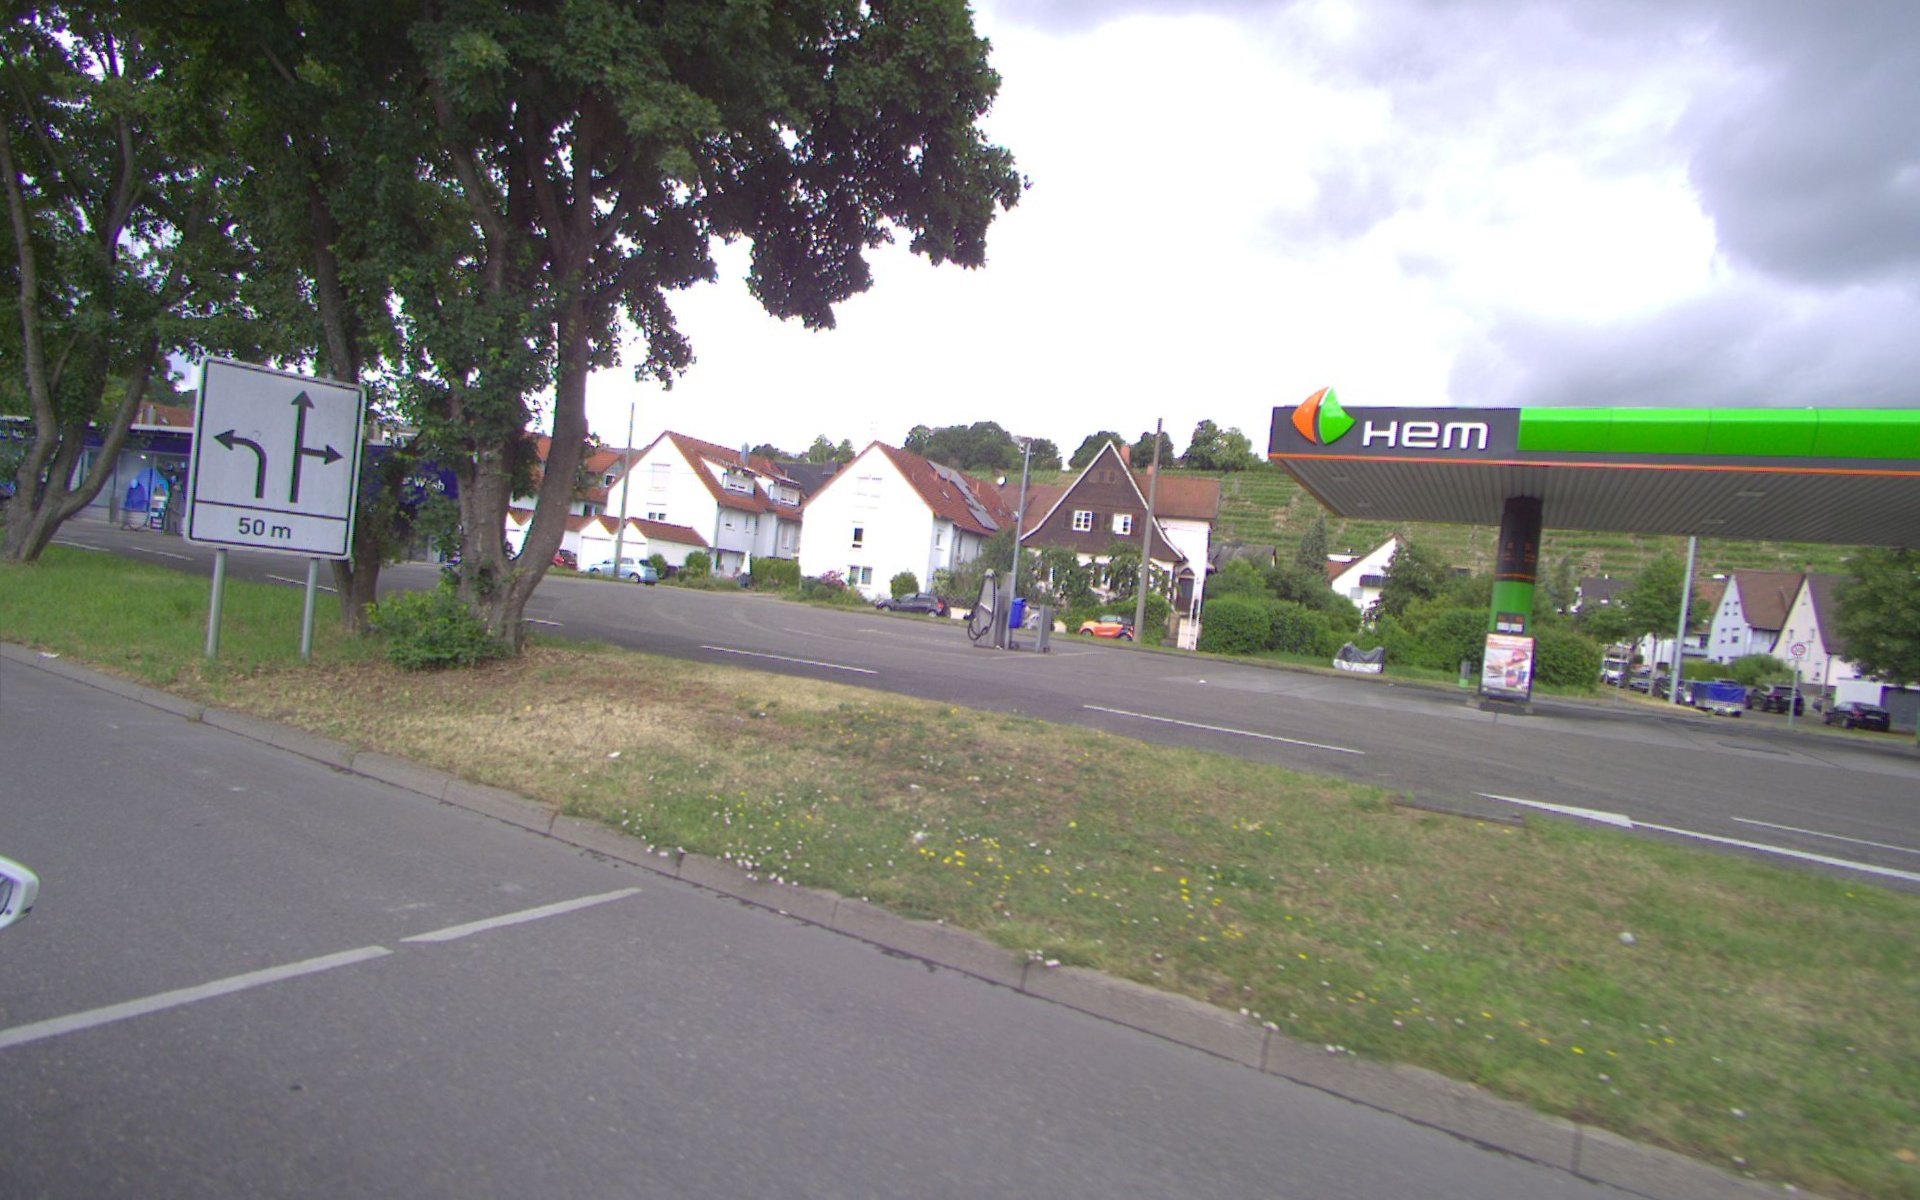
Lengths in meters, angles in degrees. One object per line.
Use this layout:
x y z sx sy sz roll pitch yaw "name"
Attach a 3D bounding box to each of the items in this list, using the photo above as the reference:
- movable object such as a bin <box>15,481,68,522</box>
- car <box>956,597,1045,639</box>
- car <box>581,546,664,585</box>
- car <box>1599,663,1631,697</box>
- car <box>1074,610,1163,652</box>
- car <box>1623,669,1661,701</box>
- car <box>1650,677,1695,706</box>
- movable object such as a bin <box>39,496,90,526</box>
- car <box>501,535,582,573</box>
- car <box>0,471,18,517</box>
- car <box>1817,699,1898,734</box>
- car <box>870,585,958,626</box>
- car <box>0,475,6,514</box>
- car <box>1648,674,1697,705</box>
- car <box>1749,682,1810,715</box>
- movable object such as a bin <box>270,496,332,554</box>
-39.182 -4.197 42.916 1.362 1.493 1.160 7 1 25 "movable object such as a bin"
2.062 0.912 50.558 3.924 1.481 2.002 7 -2 17 "car"
-19.004 -1.930 56.742 3.924 1.593 1.788 7 -2 13 "car"
52.331 6.411 80.439 1.641 2.369 3.876 7 -2 29 "car"
7.756 1.511 49.086 3.924 1.481 2.002 7 -2 17 "car"
47.433 5.910 70.003 1.641 1.896 3.876 7 -2 29 "car"
42.604 5.482 60.203 1.641 1.420 3.876 7 -2 29 "car"
-36.747 -3.650 41.293 1.167 0.989 1.161 7 1 25 "movable object such as a bin"
-24.307 -2.677 58.472 3.924 1.593 1.788 7 -2 13 "car"
-40.590 -4.497 40.572 1.723 1.844 4.371 6 1 -13 "car"
45.390 5.885 50.995 1.810 1.235 3.996 7 1 24 "car"
-2.363 0.300 51.947 3.924 1.481 2.002 7 -2 17 "car"
-43.823 -4.823 42.889 1.805 1.719 4.213 7 1 11 "car"
39.328 4.969 55.606 1.641 1.420 3.876 7 -2 29 "car"
50.149 6.003 61.647 1.965 1.557 3.993 7 1 27 "car"
-23.292 -2.641 35.554 1.429 1.842 1.160 7 1 25 "movable object such as a bin"
